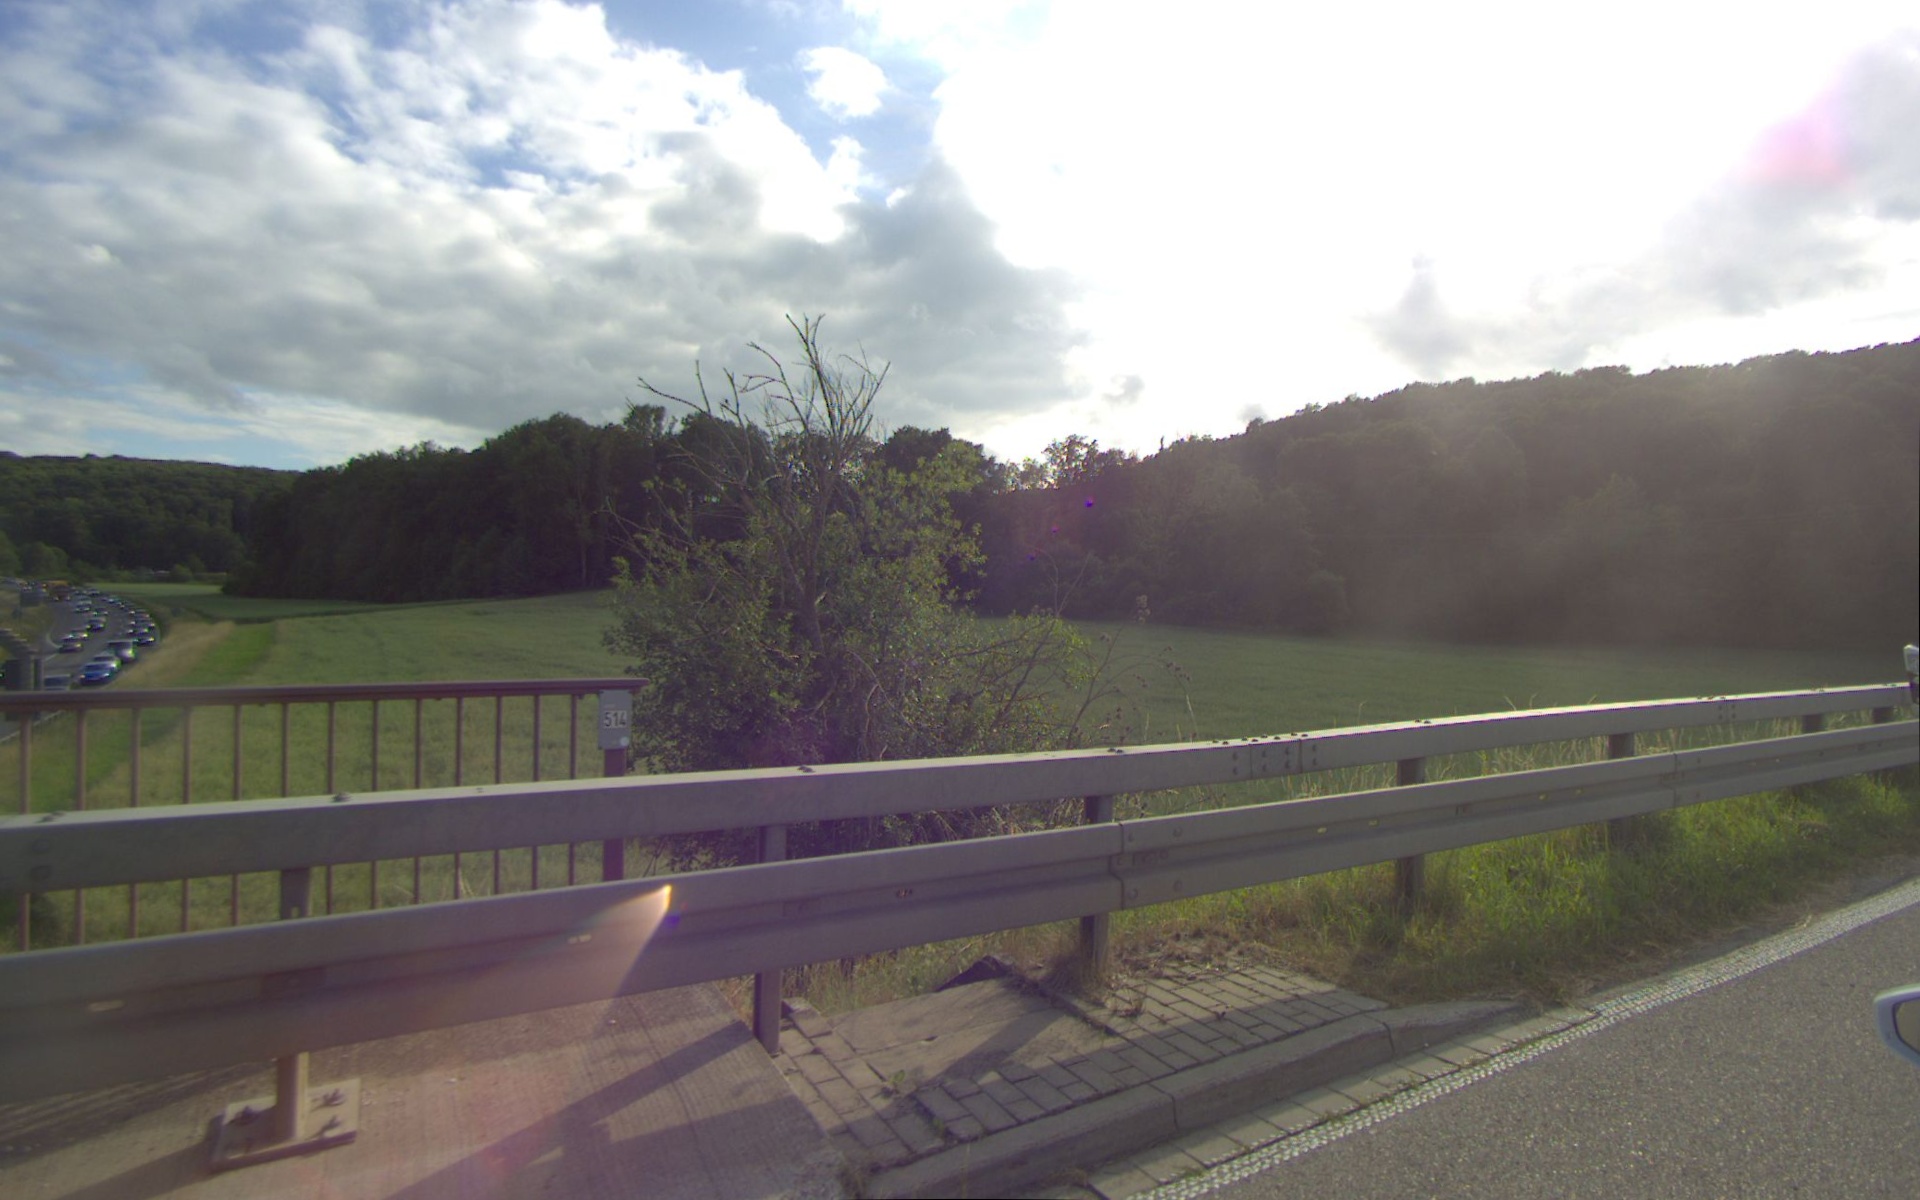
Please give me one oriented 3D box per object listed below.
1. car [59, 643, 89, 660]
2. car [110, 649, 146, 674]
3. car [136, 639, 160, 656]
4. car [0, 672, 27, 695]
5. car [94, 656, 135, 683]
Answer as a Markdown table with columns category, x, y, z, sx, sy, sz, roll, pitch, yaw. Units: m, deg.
| category | x | y | z | sx | sy | sz | roll | pitch | yaw |
| --- | --- | --- | --- | --- | --- | --- | --- | --- | --- |
| car | -90.794 | 5.272 | 102.955 | 1.810 | 1.462 | 3.961 | 1 | 0 | -35 |
| car | -70.952 | 5.210 | 85.708 | 1.982 | 1.750 | 3.959 | 6 | -3 | -36 |
| car | -87.992 | 5.107 | 108.874 | 1.785 | 1.608 | 3.959 | 2 | 0 | -36 |
| car | -69.823 | 6.105 | 73.433 | 1.698 | 1.350 | 3.964 | 1 | 0 | -33 |
| car | -61.813 | 5.076 | 73.479 | 1.809 | 1.672 | 3.963 | 1 | 0 | -33 |
